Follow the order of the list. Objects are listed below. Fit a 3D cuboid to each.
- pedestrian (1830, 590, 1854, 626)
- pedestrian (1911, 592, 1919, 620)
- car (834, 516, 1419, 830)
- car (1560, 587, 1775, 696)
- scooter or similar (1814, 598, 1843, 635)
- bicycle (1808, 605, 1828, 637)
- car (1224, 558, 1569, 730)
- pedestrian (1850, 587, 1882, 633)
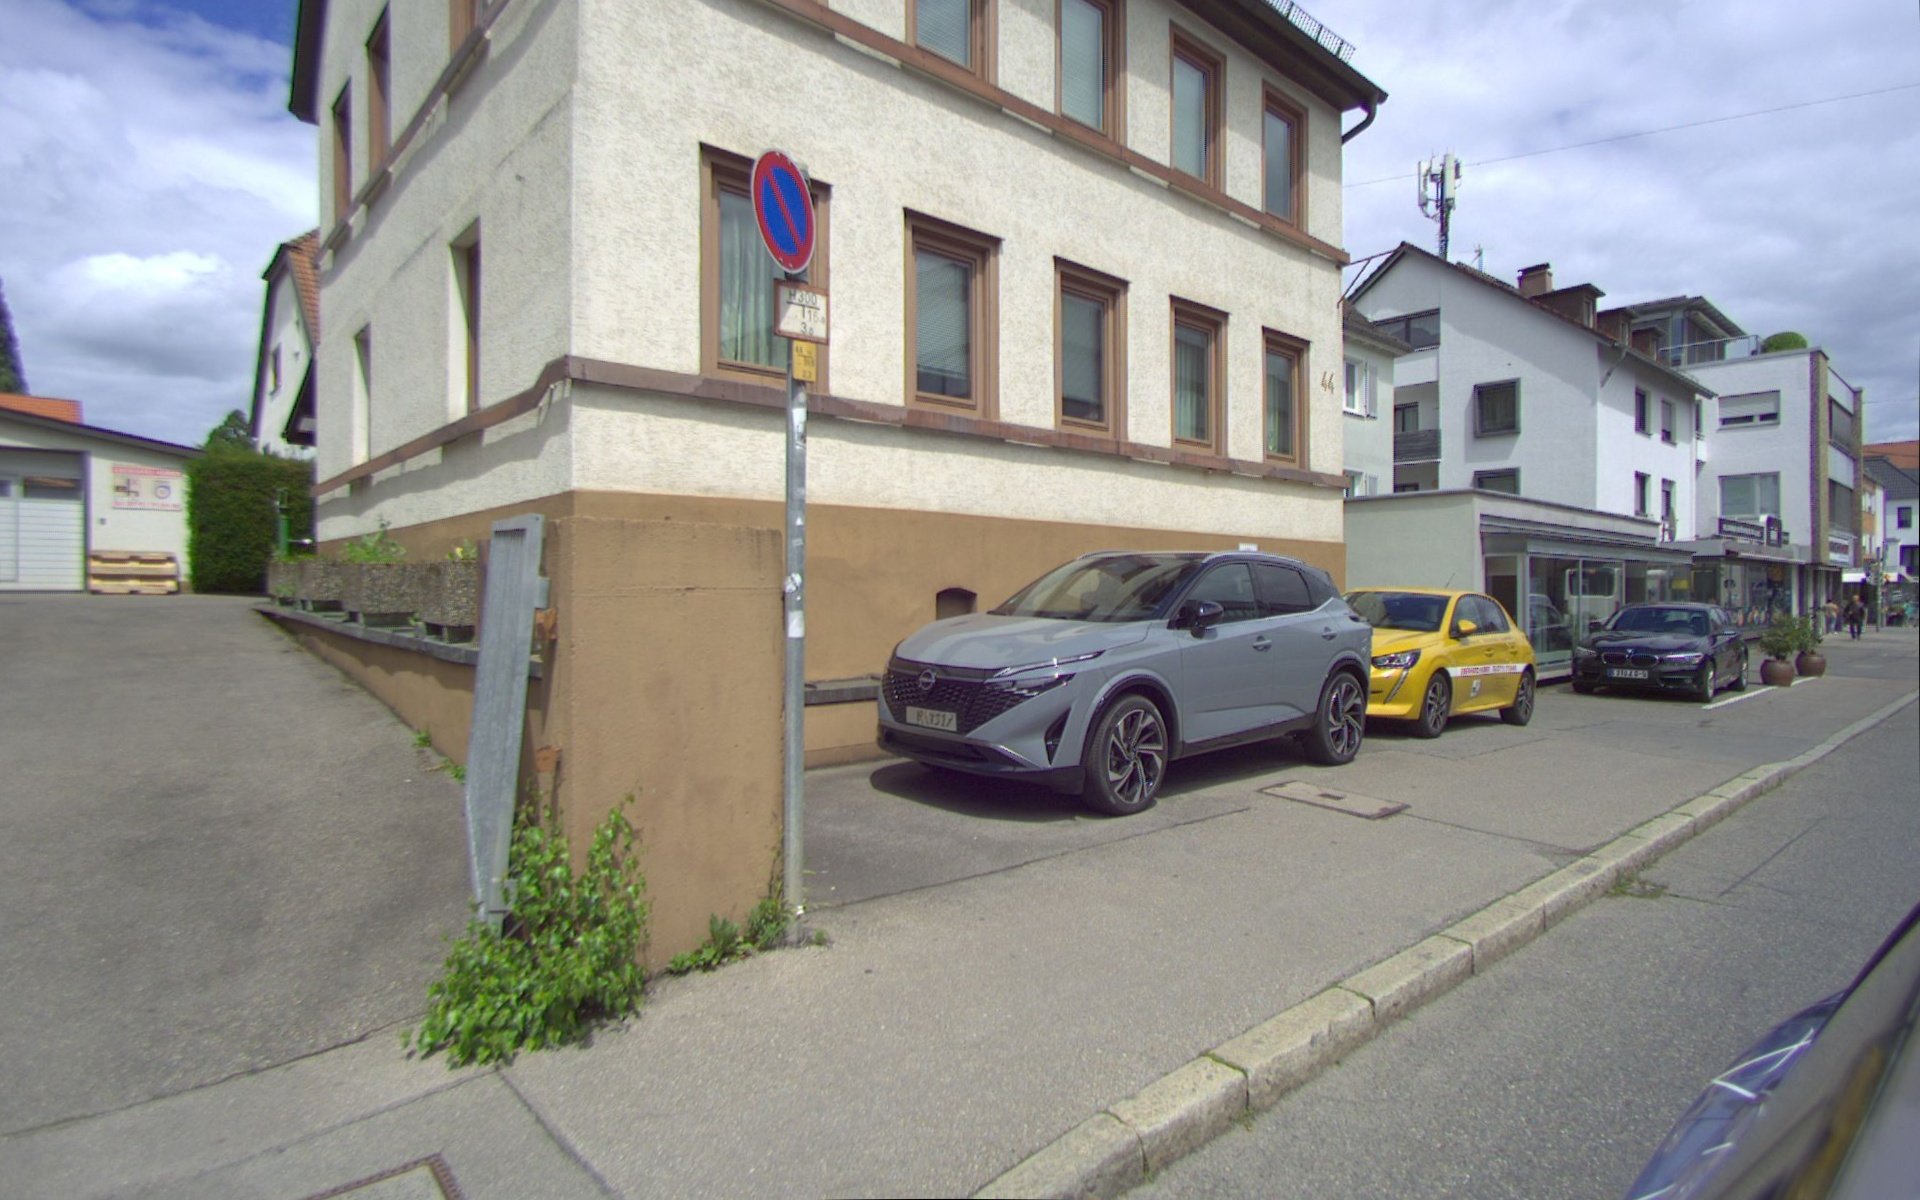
[{"bbox_3d":[37.219,0.338,42.686,0.707,1.518,0.680,0,0,-42],"label":"pedestrian"},{"bbox_3d":[52.904,0.340,55.650,0.804,1.545,0.779,0,0,-39],"label":"pedestrian"},{"bbox_3d":[1.467,0.354,7.472,4.507,1.632,1.863,0,1,-42],"label":"car"},{"bbox_3d":[11.314,0.556,16.056,4.460,1.466,1.970,0,1,-44],"label":"car"},{"bbox_3d":[30.978,0.574,36.101,0.686,1.283,1.170,1,1,36],"label":"scooter or similar"},{"bbox_3d":[29.041,0.699,34.259,0.474,1.041,1.613,1,1,39],"label":"bicycle"},{"bbox_3d":[4.796,0.436,10.815,4.234,1.466,1.879,3,-1,-44],"label":"car"},{"bbox_3d":[34.248,0.365,38.243,0.793,1.691,0.796,0,1,-42],"label":"pedestrian"}]
